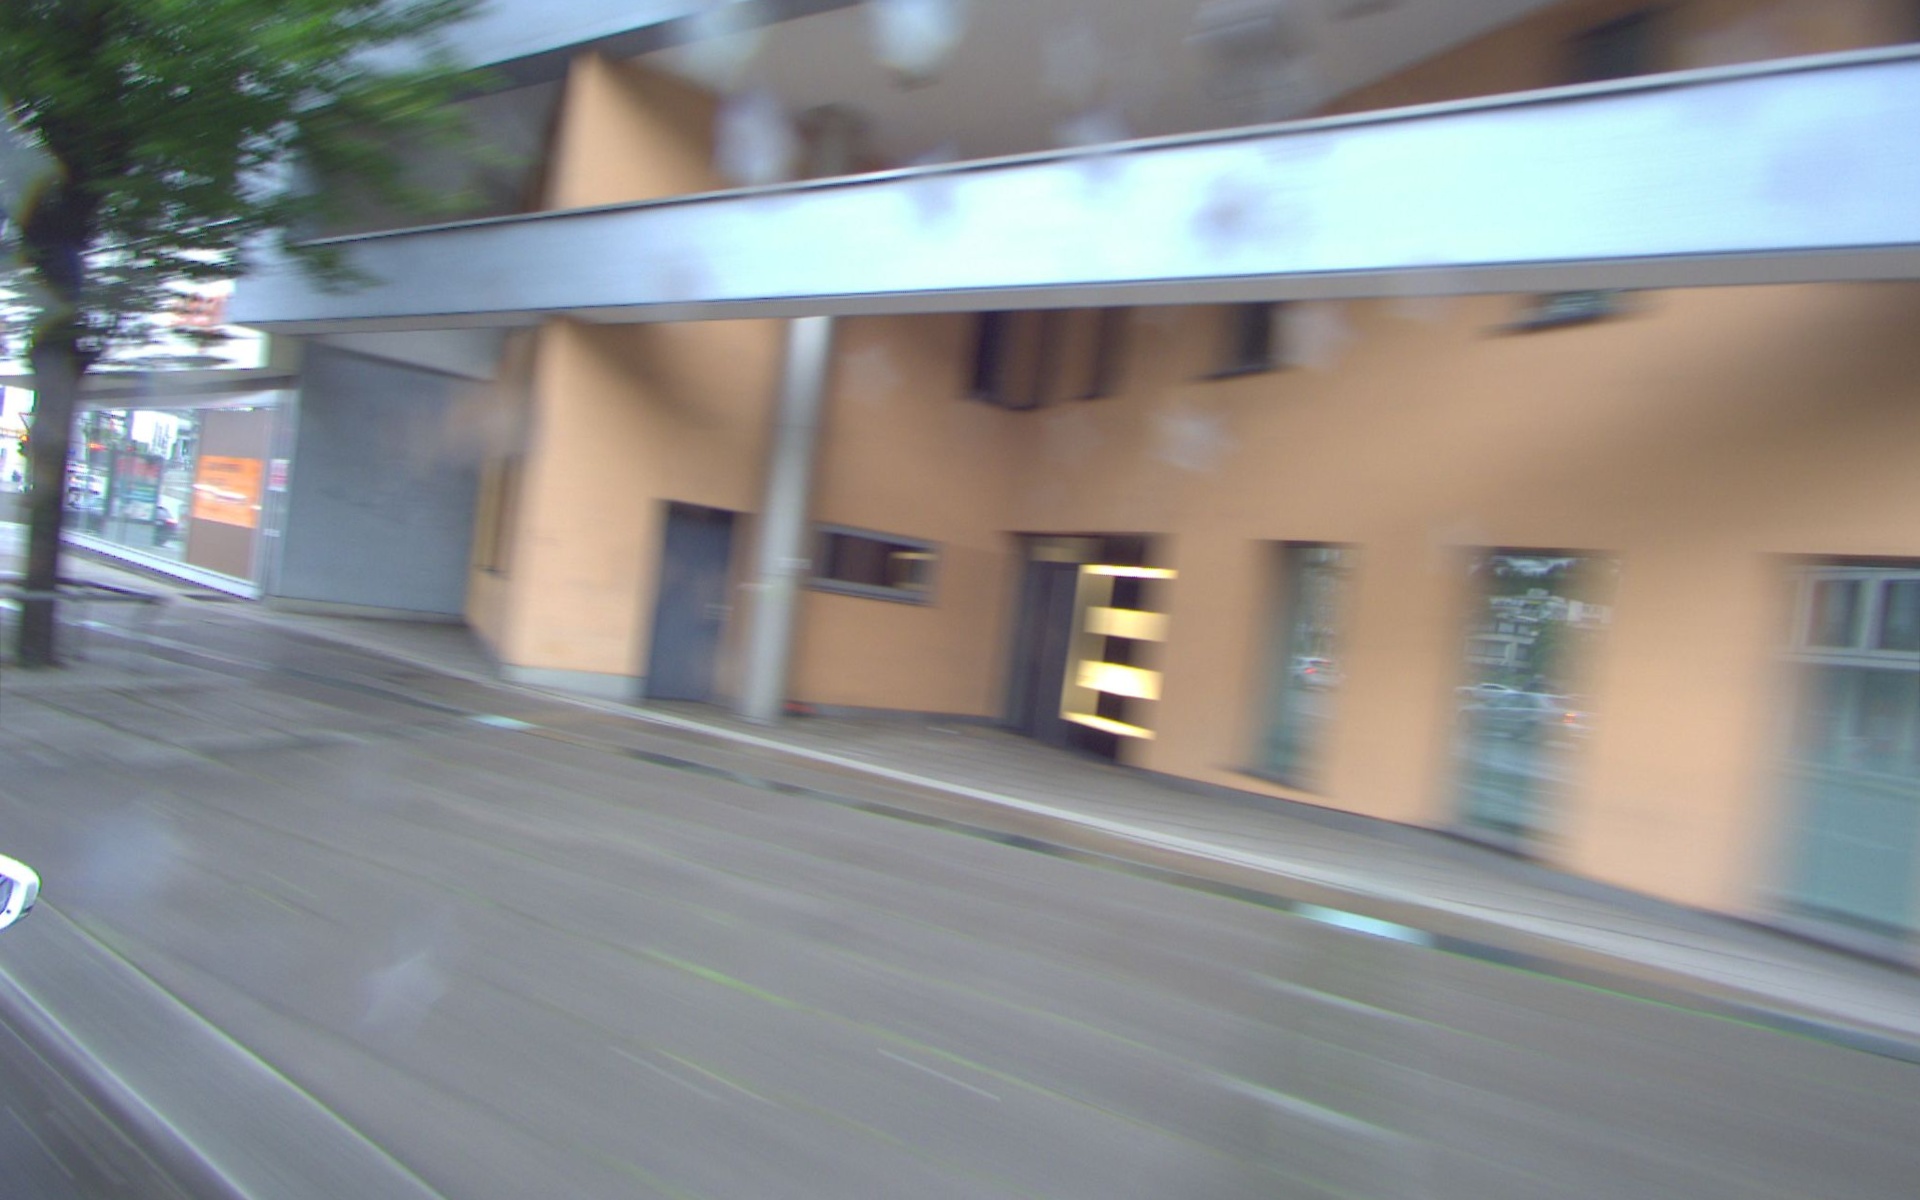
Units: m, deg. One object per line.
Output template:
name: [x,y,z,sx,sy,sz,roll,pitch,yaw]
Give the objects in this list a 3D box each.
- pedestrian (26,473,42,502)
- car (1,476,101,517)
pedestrian: [-64.999,-7.868,70.600,0.356,1.921,0.575,7,0,34]
car: [-58.830,-6.687,65.174,1.970,1.786,4.405,7,-1,38]
